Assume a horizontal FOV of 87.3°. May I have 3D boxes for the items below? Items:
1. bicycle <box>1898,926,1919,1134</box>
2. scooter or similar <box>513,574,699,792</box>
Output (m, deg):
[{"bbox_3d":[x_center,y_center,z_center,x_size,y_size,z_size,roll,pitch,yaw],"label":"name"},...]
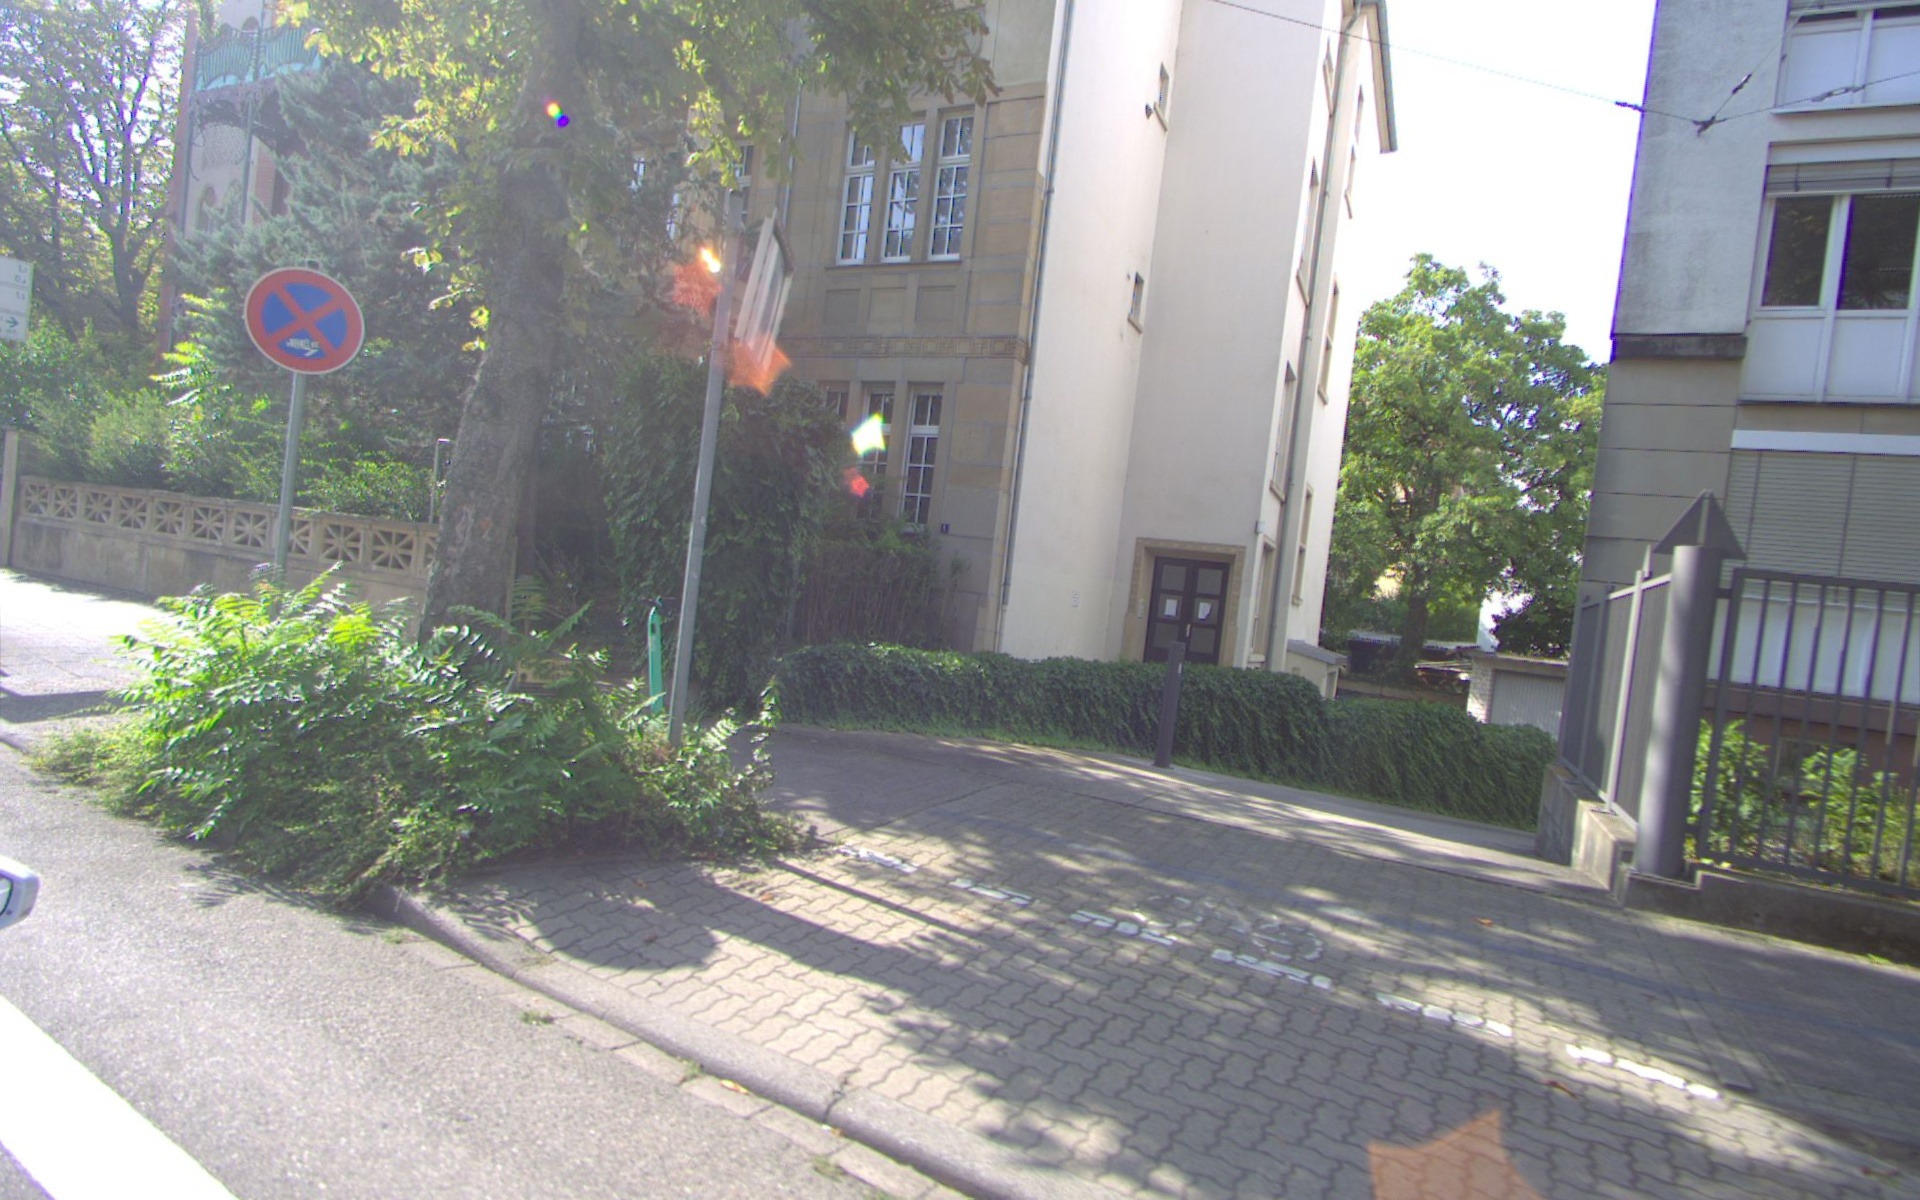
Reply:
[{"bbox_3d":[3.615,1.235,2.498,0.496,1.183,1.835,1,4,-13],"label":"bicycle"},{"bbox_3d":[-2.273,0.487,6.447,1.017,1.214,0.557,7,5,32],"label":"scooter or similar"}]
